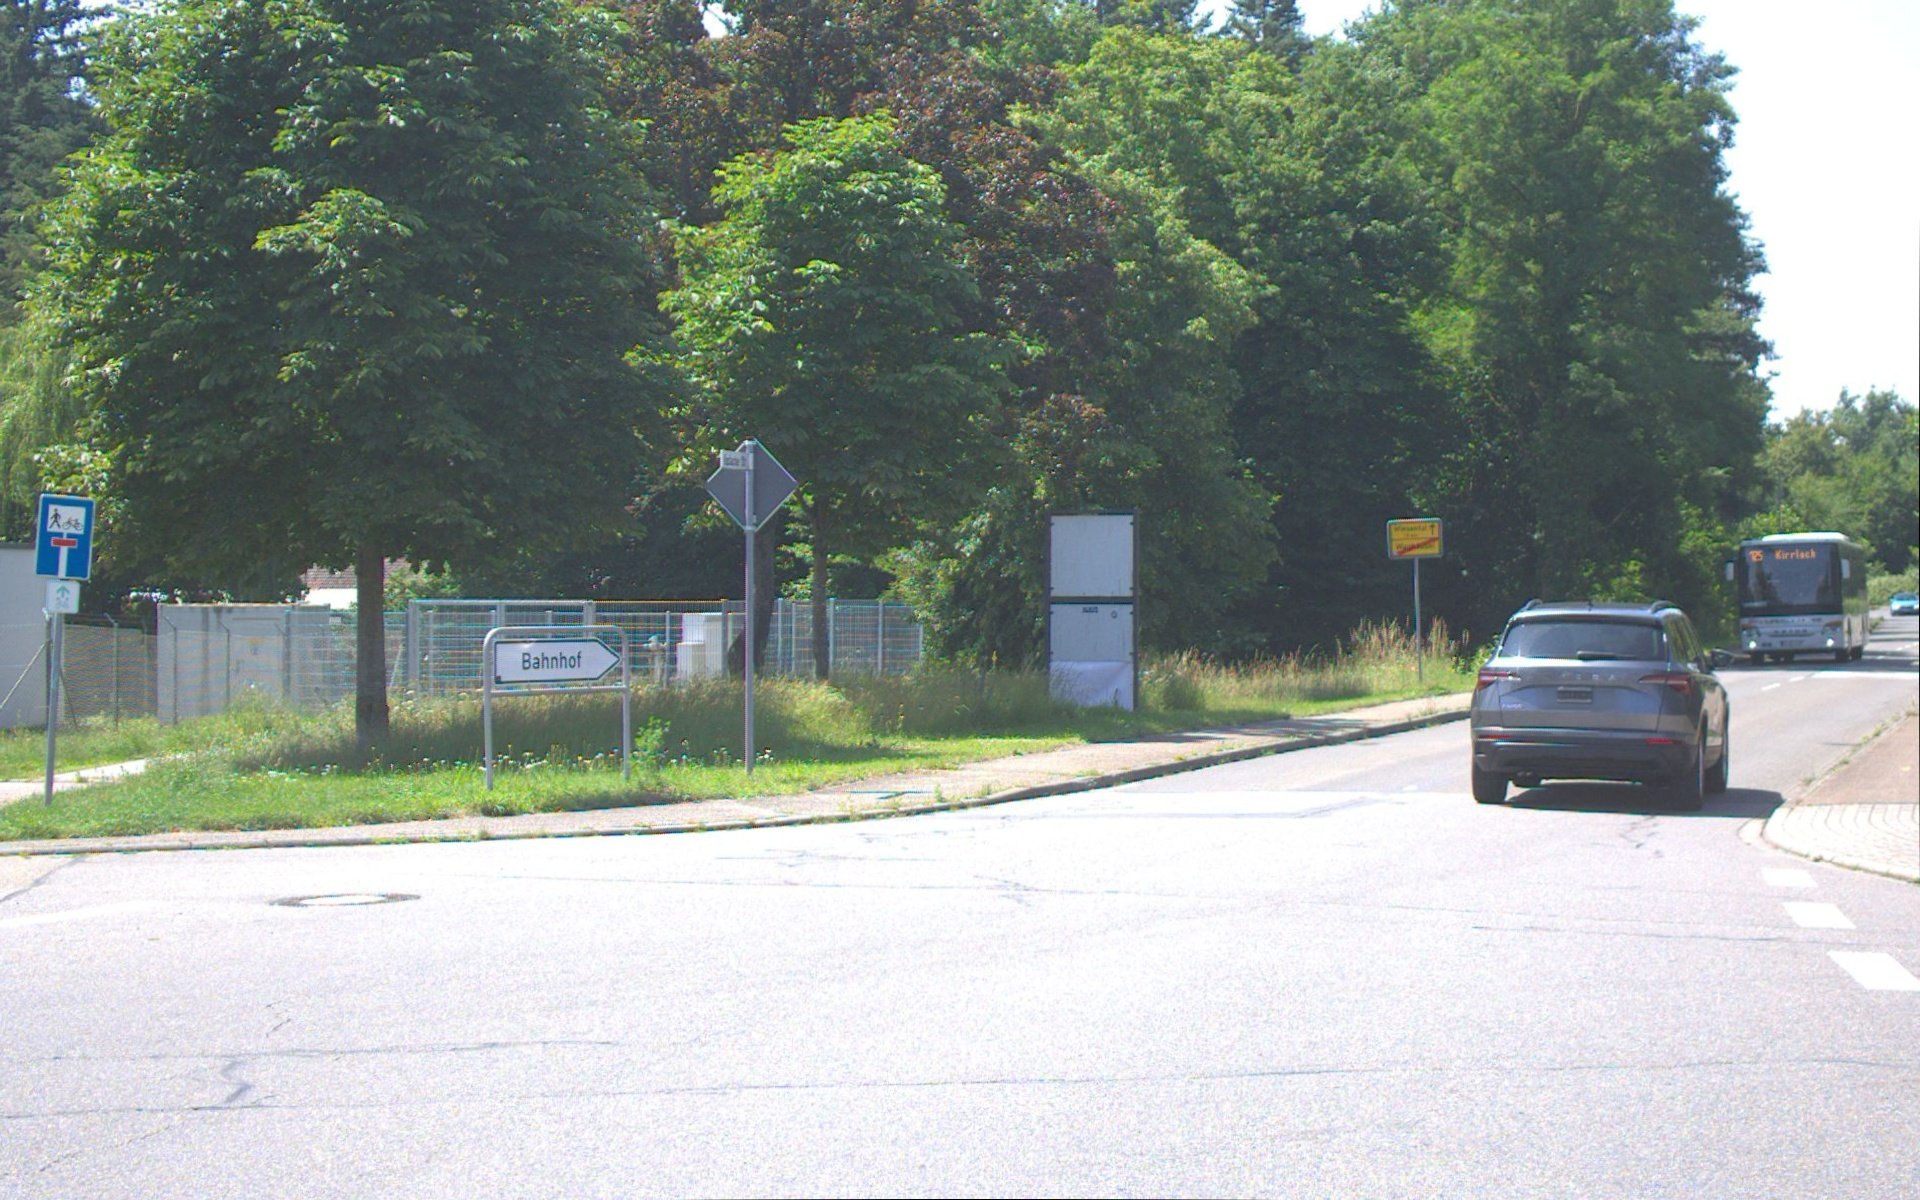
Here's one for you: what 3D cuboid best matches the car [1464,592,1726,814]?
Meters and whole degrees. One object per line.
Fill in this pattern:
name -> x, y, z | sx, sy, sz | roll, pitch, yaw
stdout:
car -> 5.196, 0.787, 27.760 | 1.763, 1.612, 3.997 | 1, 0, 15

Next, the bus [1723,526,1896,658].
bus -> 22.579, -0.191, 90.854 | 3.184, 3.233, 12.699 | 0, 0, 20

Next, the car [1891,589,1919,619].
car -> 58.718, 0.224, 212.954 | 1.952, 1.853, 3.997 | 0, 0, 14
